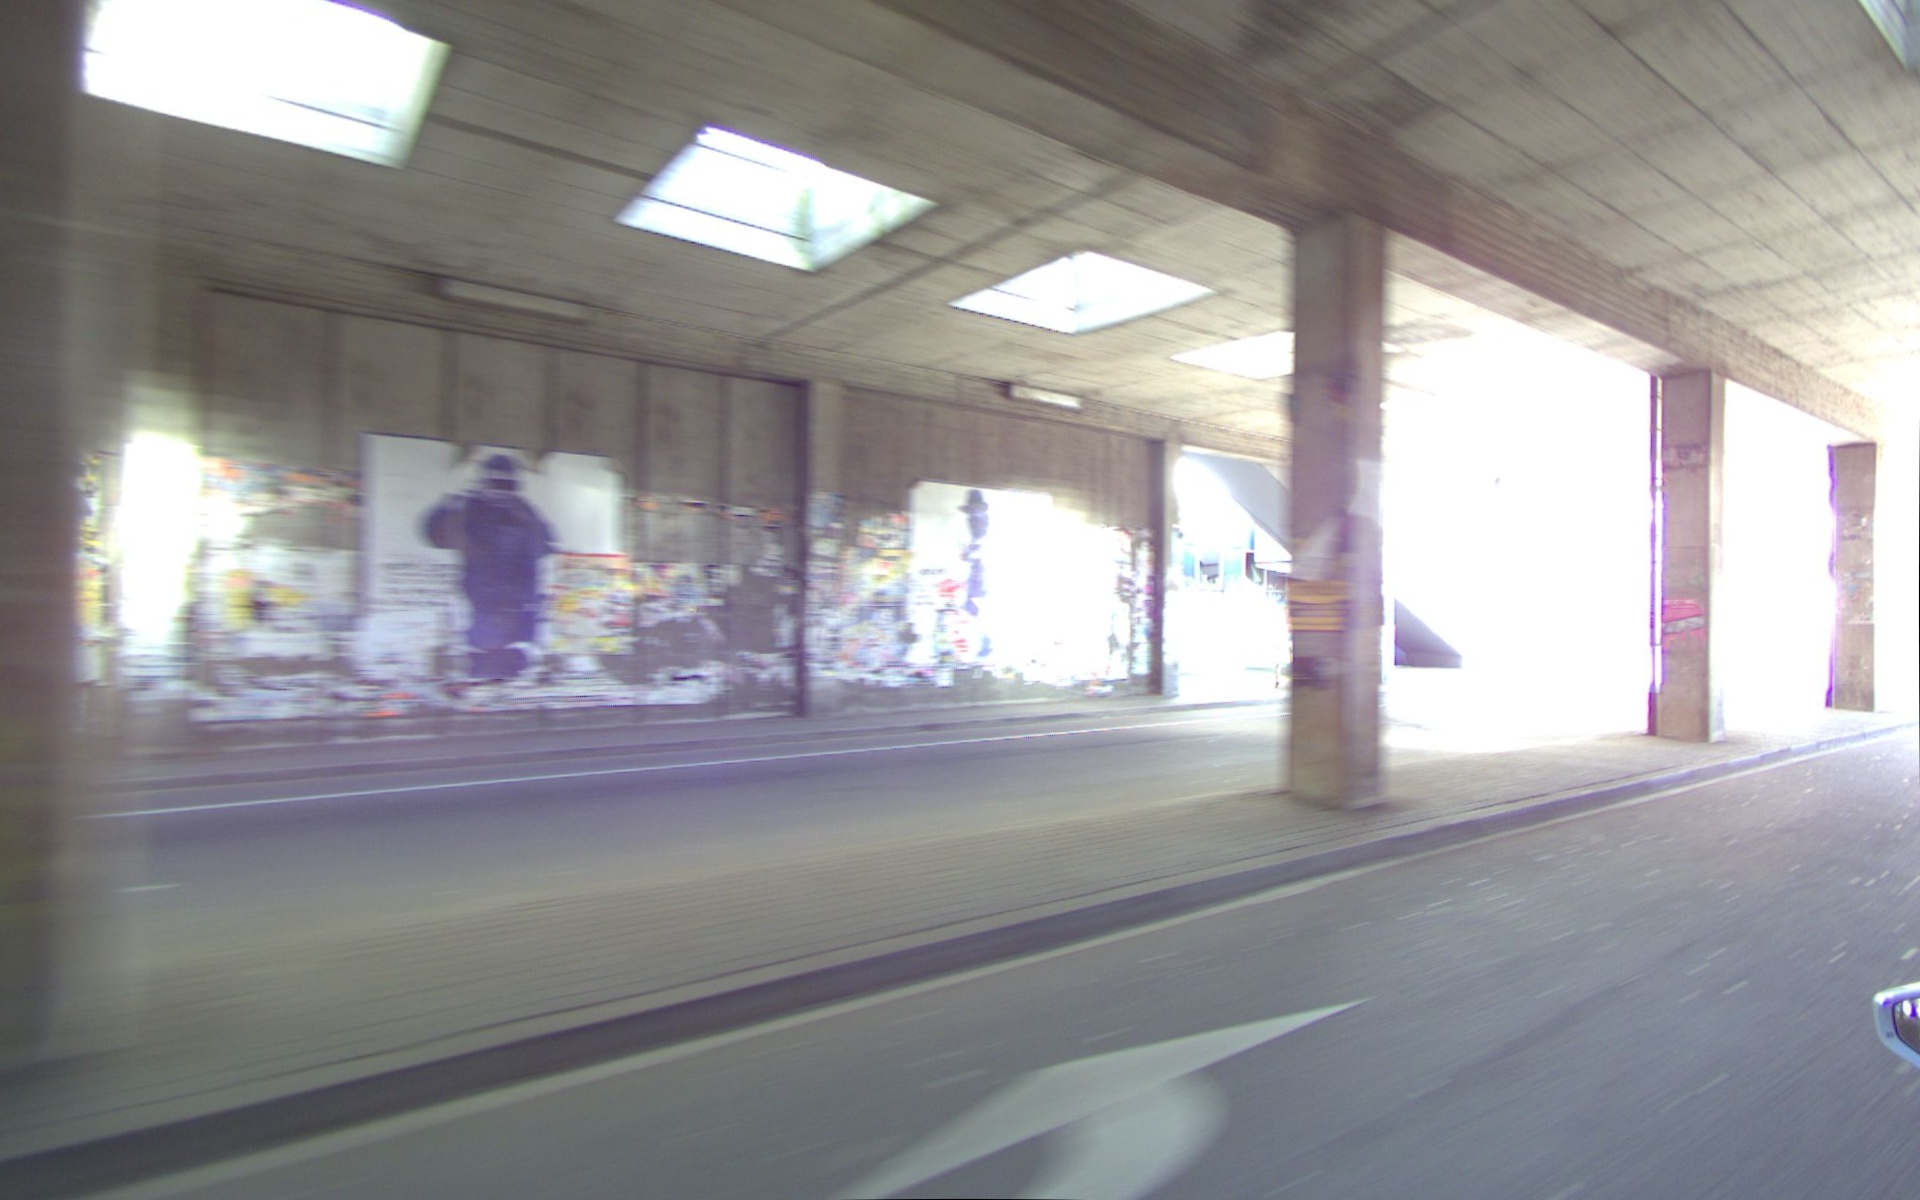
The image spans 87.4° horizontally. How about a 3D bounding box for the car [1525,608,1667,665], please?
[{"bbox_3d":[25.570,1.416,40.531,1.980,2.041,4.449,-2,1,-36],"label":"car"}]
